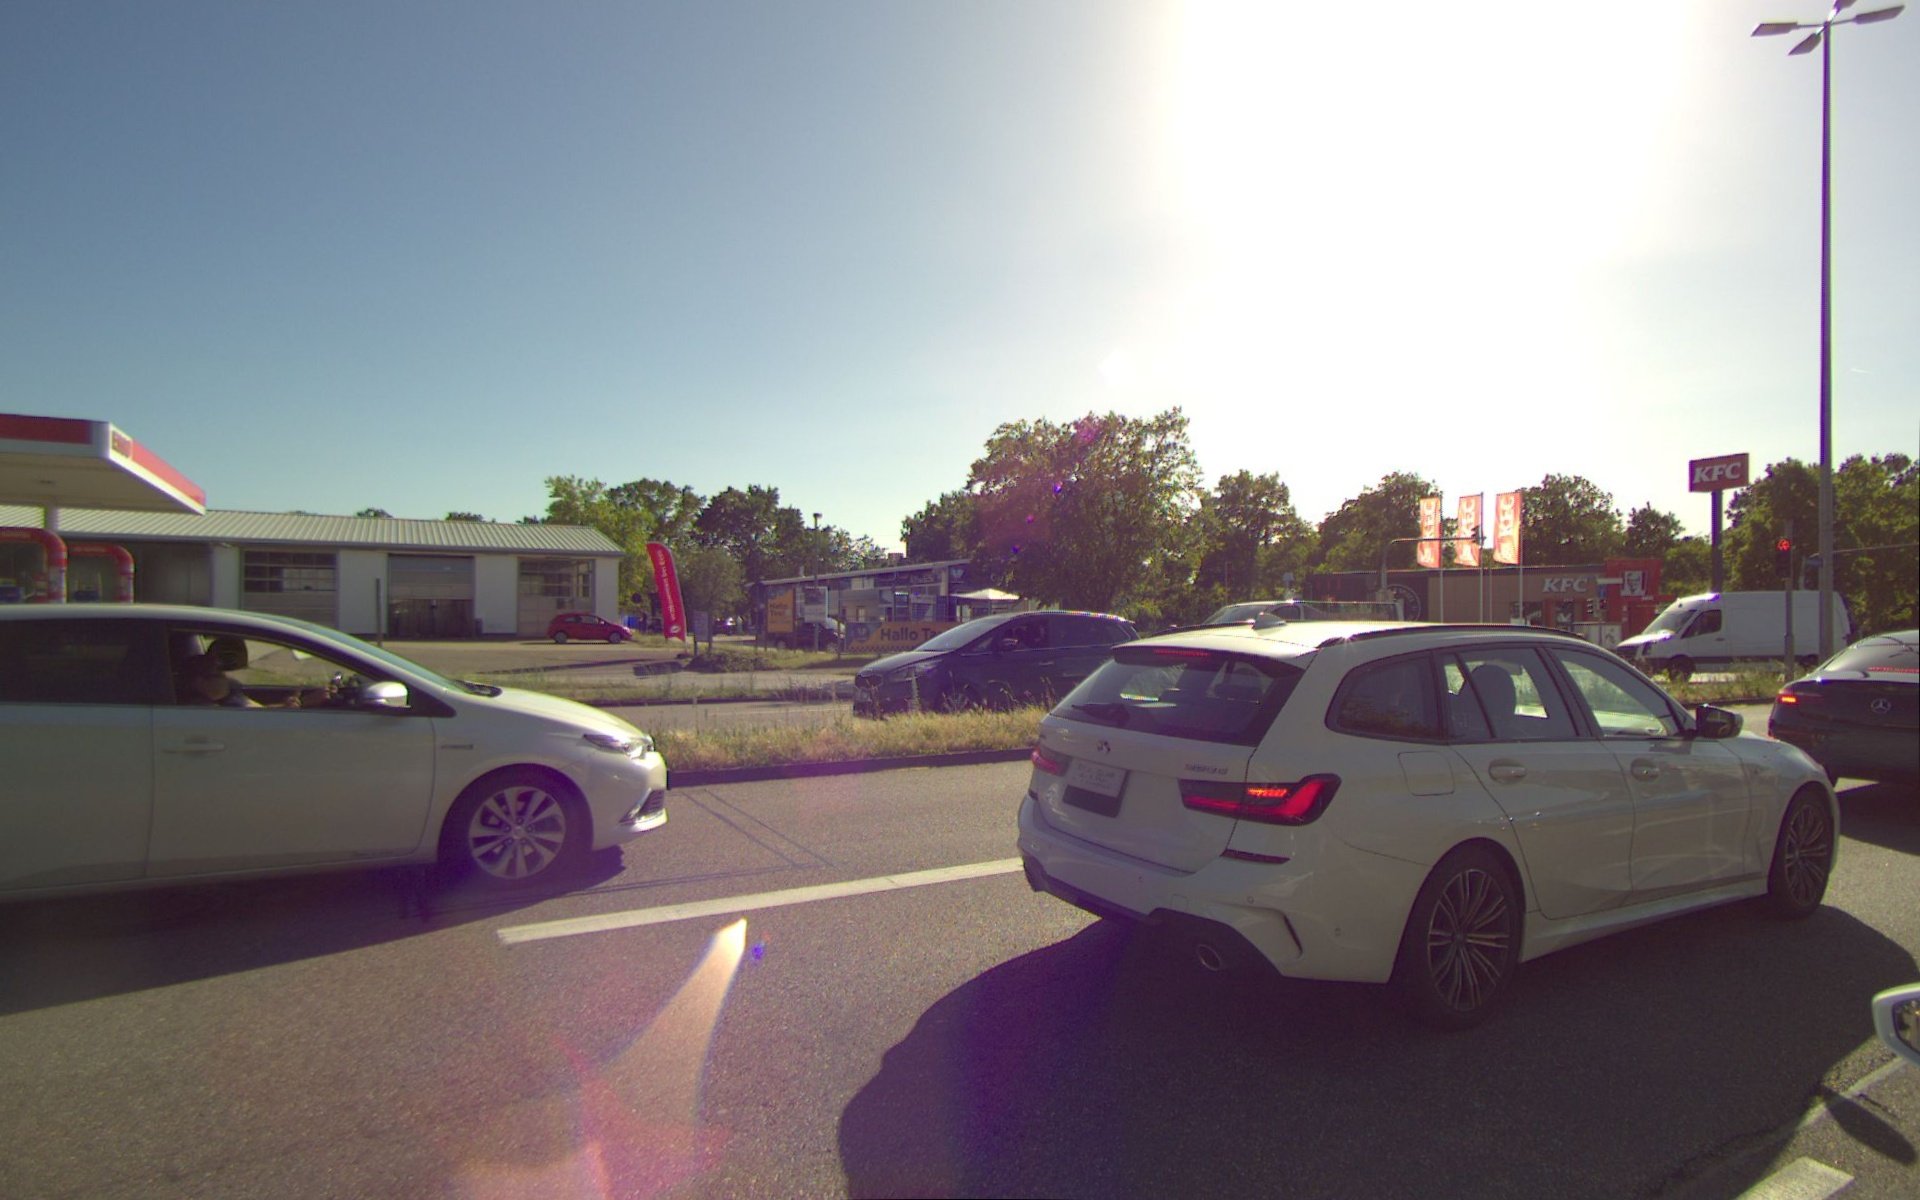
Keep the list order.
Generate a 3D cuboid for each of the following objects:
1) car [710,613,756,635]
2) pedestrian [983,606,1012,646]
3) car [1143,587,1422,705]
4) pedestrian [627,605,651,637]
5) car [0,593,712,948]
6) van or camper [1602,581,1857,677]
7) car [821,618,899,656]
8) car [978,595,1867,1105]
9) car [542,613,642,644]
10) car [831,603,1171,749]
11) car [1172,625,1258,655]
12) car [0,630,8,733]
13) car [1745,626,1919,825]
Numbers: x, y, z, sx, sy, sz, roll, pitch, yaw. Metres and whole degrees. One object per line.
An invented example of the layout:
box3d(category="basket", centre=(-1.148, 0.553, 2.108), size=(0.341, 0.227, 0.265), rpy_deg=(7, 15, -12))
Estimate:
box3d(category="car", centre=(-19.930, 2.123, 88.259), size=(2.085, 1.840, 4.000), rpy_deg=(0, -1, 20))
box3d(category="pedestrian", centre=(1.719, 1.182, 46.255), size=(0.916, 1.840, 1.013), rpy_deg=(1, -1, -34))
box3d(category="car", centre=(6.175, 0.881, 19.246), size=(4.953, 2.040, 1.990), rpy_deg=(1, -3, -22))
box3d(category="pedestrian", centre=(-18.519, 1.199, 57.917), size=(1.086, 1.787, 1.150), rpy_deg=(1, -1, -29))
box3d(category="car", centre=(-3.726, 0.718, 5.315), size=(4.353, 1.448, 1.848), rpy_deg=(1, -1, -31))
box3d(category="van or camper", centre=(22.598, 0.826, 29.693), size=(5.836, 2.686, 2.001), rpy_deg=(1, -1, 5))
box3d(category="car", centre=(-3.698, 1.319, 36.880), size=(1.625, 1.301, 3.122), rpy_deg=(1, -1, -32))
box3d(category="car", centre=(2.420, 0.793, 4.905), size=(4.409, 1.529, 1.760), rpy_deg=(1, -1, -30))
box3d(category="car", centre=(-18.117, 1.410, 49.507), size=(4.486, 1.458, 1.741), rpy_deg=(1, -1, -26))
box3d(category="car", centre=(0.617, 0.928, 13.829), size=(4.385, 1.712, 1.869), rpy_deg=(1, 0, -31))
box3d(category="car", centre=(13.788, 2.124, 54.524), size=(1.840, 1.449, 4.700), rpy_deg=(0, 0, -28))
box3d(category="car", centre=(-15.229, 1.082, 12.505), size=(4.556, 1.464, 1.894), rpy_deg=(1, -3, -32))
box3d(category="car", centre=(8.798, 0.960, 8.626), size=(4.409, 1.433, 1.760), rpy_deg=(1, -1, -30))
